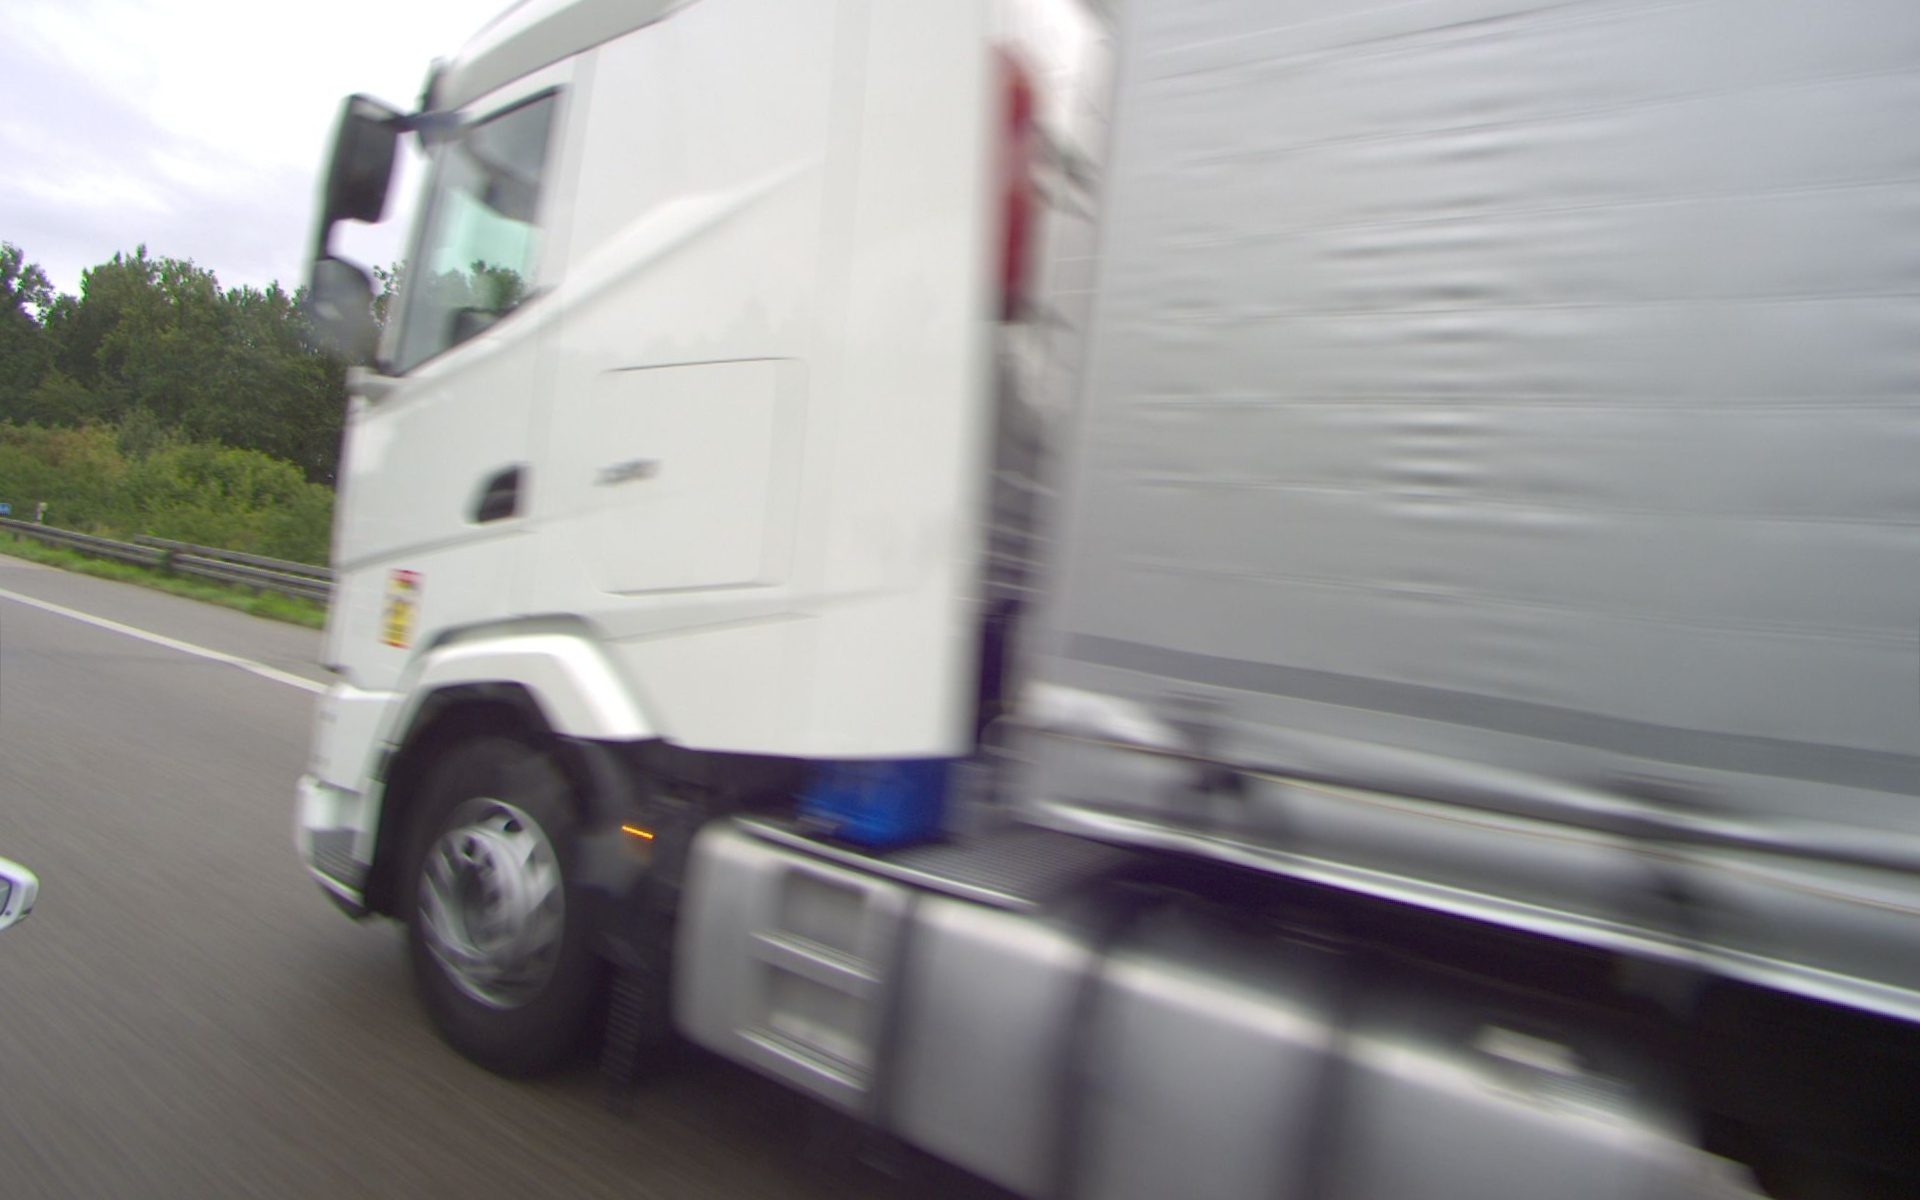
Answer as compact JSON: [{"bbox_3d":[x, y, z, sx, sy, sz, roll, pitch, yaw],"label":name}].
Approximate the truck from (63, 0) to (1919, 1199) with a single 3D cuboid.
[{"bbox_3d":[0.106,-0.528,3.306,5.656,4.089,2.725,7,0,31],"label":"truck"}]
